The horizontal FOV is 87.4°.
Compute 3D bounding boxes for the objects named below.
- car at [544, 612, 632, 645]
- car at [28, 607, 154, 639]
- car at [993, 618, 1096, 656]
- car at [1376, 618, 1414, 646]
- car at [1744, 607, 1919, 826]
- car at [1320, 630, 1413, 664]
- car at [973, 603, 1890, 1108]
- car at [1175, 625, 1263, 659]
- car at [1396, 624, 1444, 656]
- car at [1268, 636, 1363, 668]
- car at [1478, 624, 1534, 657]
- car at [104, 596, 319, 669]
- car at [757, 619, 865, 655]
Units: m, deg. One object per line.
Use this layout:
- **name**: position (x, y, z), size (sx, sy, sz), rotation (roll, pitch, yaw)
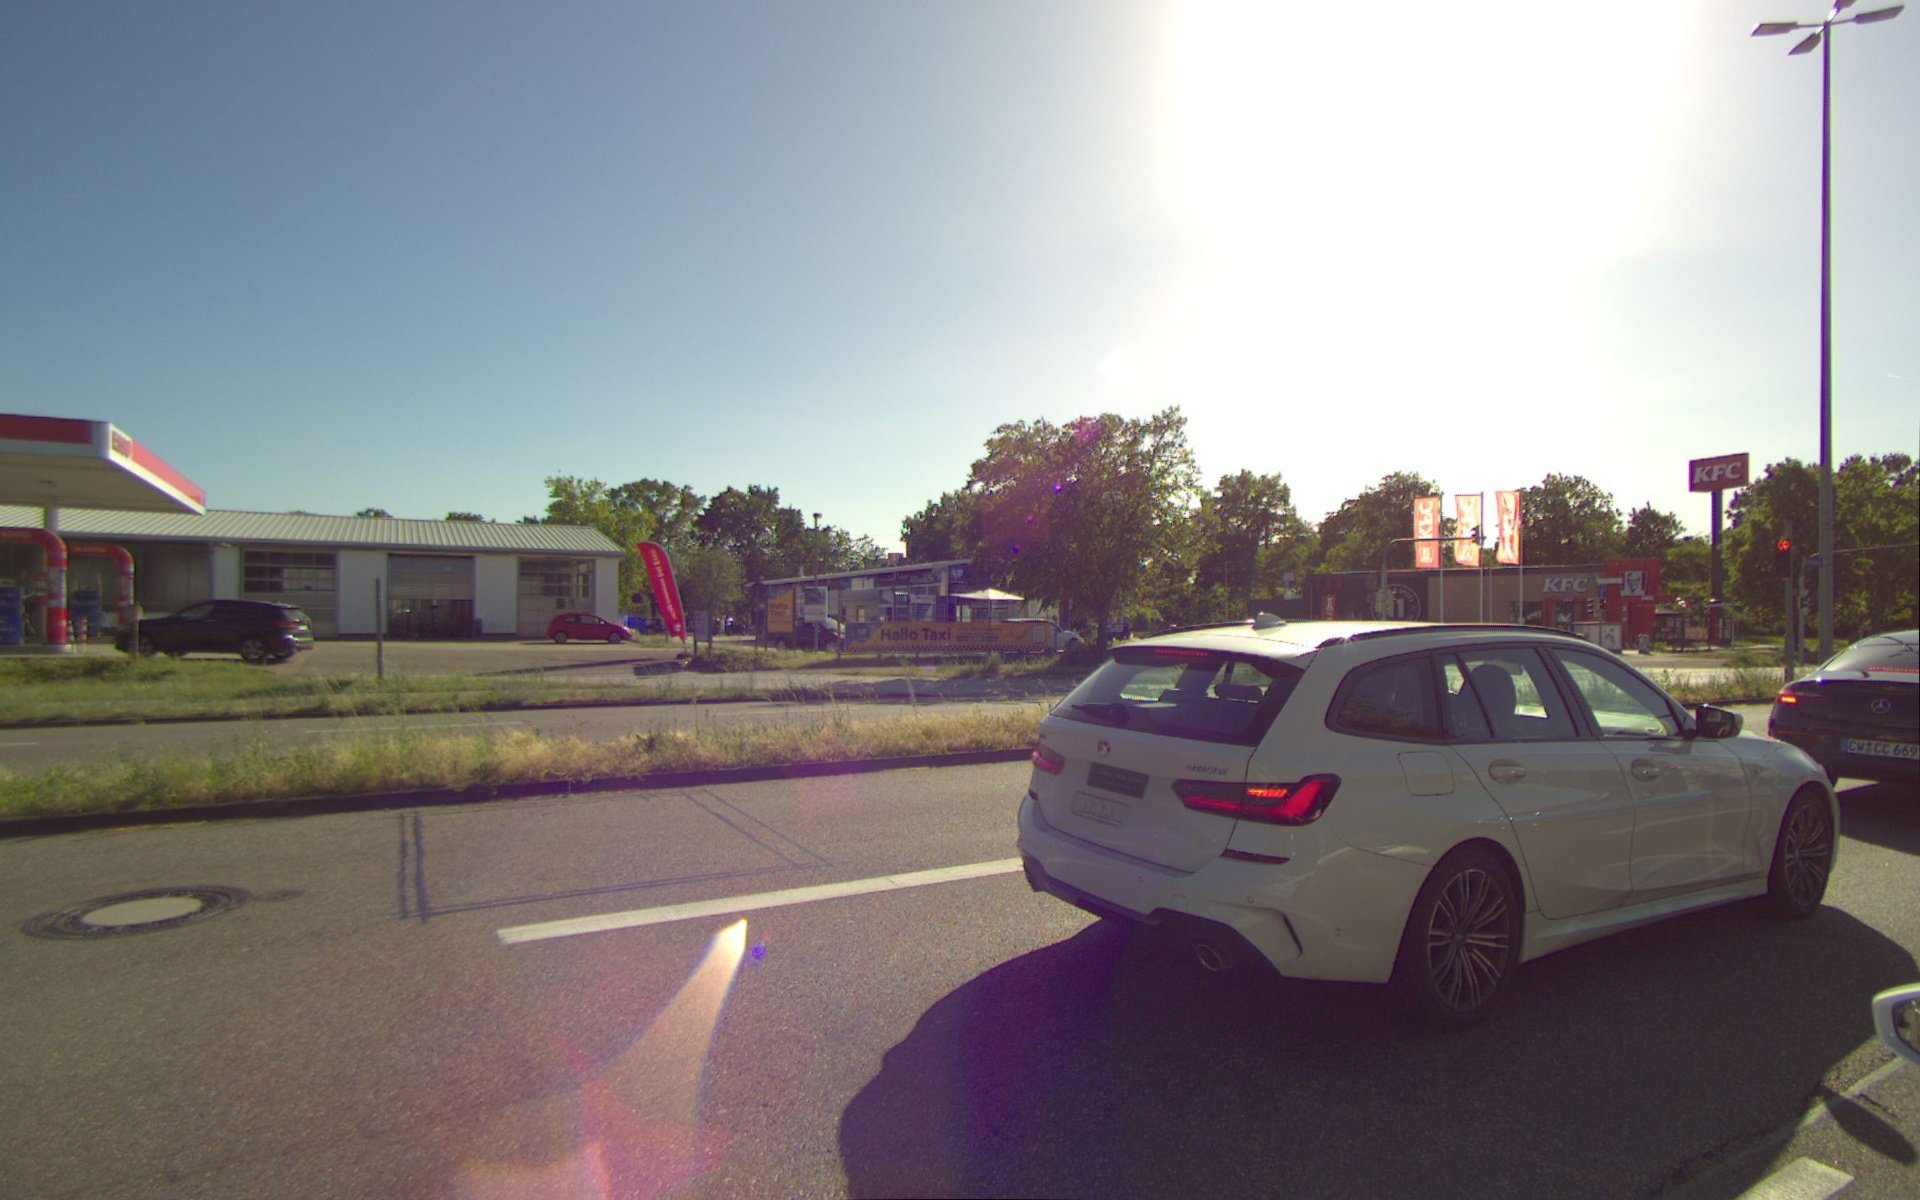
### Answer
- **car**: position (-18.275, 1.381, 49.333), size (3.949, 1.491, 1.521), rotation (2, 0, -24)
- **car**: position (-36.350, 0.969, 42.124), size (3.688, 1.203, 1.667), rotation (2, 0, -30)
- **car**: position (3.546, 1.541, 42.015), size (3.960, 1.461, 1.981), rotation (2, 0, -35)
- **car**: position (31.387, 2.298, 72.637), size (1.960, 1.837, 3.774), rotation (2, 0, 15)
- **car**: position (8.798, 0.892, 8.596), size (4.491, 1.572, 1.803), rotation (1, 0, -31)
- **car**: position (20.113, 2.332, 49.876), size (1.913, 1.472, 3.936), rotation (2, 0, -29)
- **car**: position (2.469, 0.805, 4.926), size (4.541, 1.506, 1.804), rotation (1, 0, -30)
- **car**: position (13.953, 2.235, 54.442), size (1.914, 1.600, 4.599), rotation (2, 0, -31)
- **car**: position (28.053, 2.409, 61.385), size (1.896, 1.763, 4.099), rotation (2, 0, 14)
- **car**: position (17.020, 2.481, 48.224), size (1.850, 1.268, 4.062), rotation (2, 0, -31)
- **car**: position (32.693, 2.384, 60.235), size (1.896, 1.763, 4.099), rotation (2, 0, 14)
- **car**: position (-20.071, 0.865, 27.133), size (4.249, 1.749, 1.803), rotation (2, 2, -14)
- **car**: position (-5.798, 1.419, 39.057), size (3.930, 1.193, 1.774), rotation (2, 0, 31)
